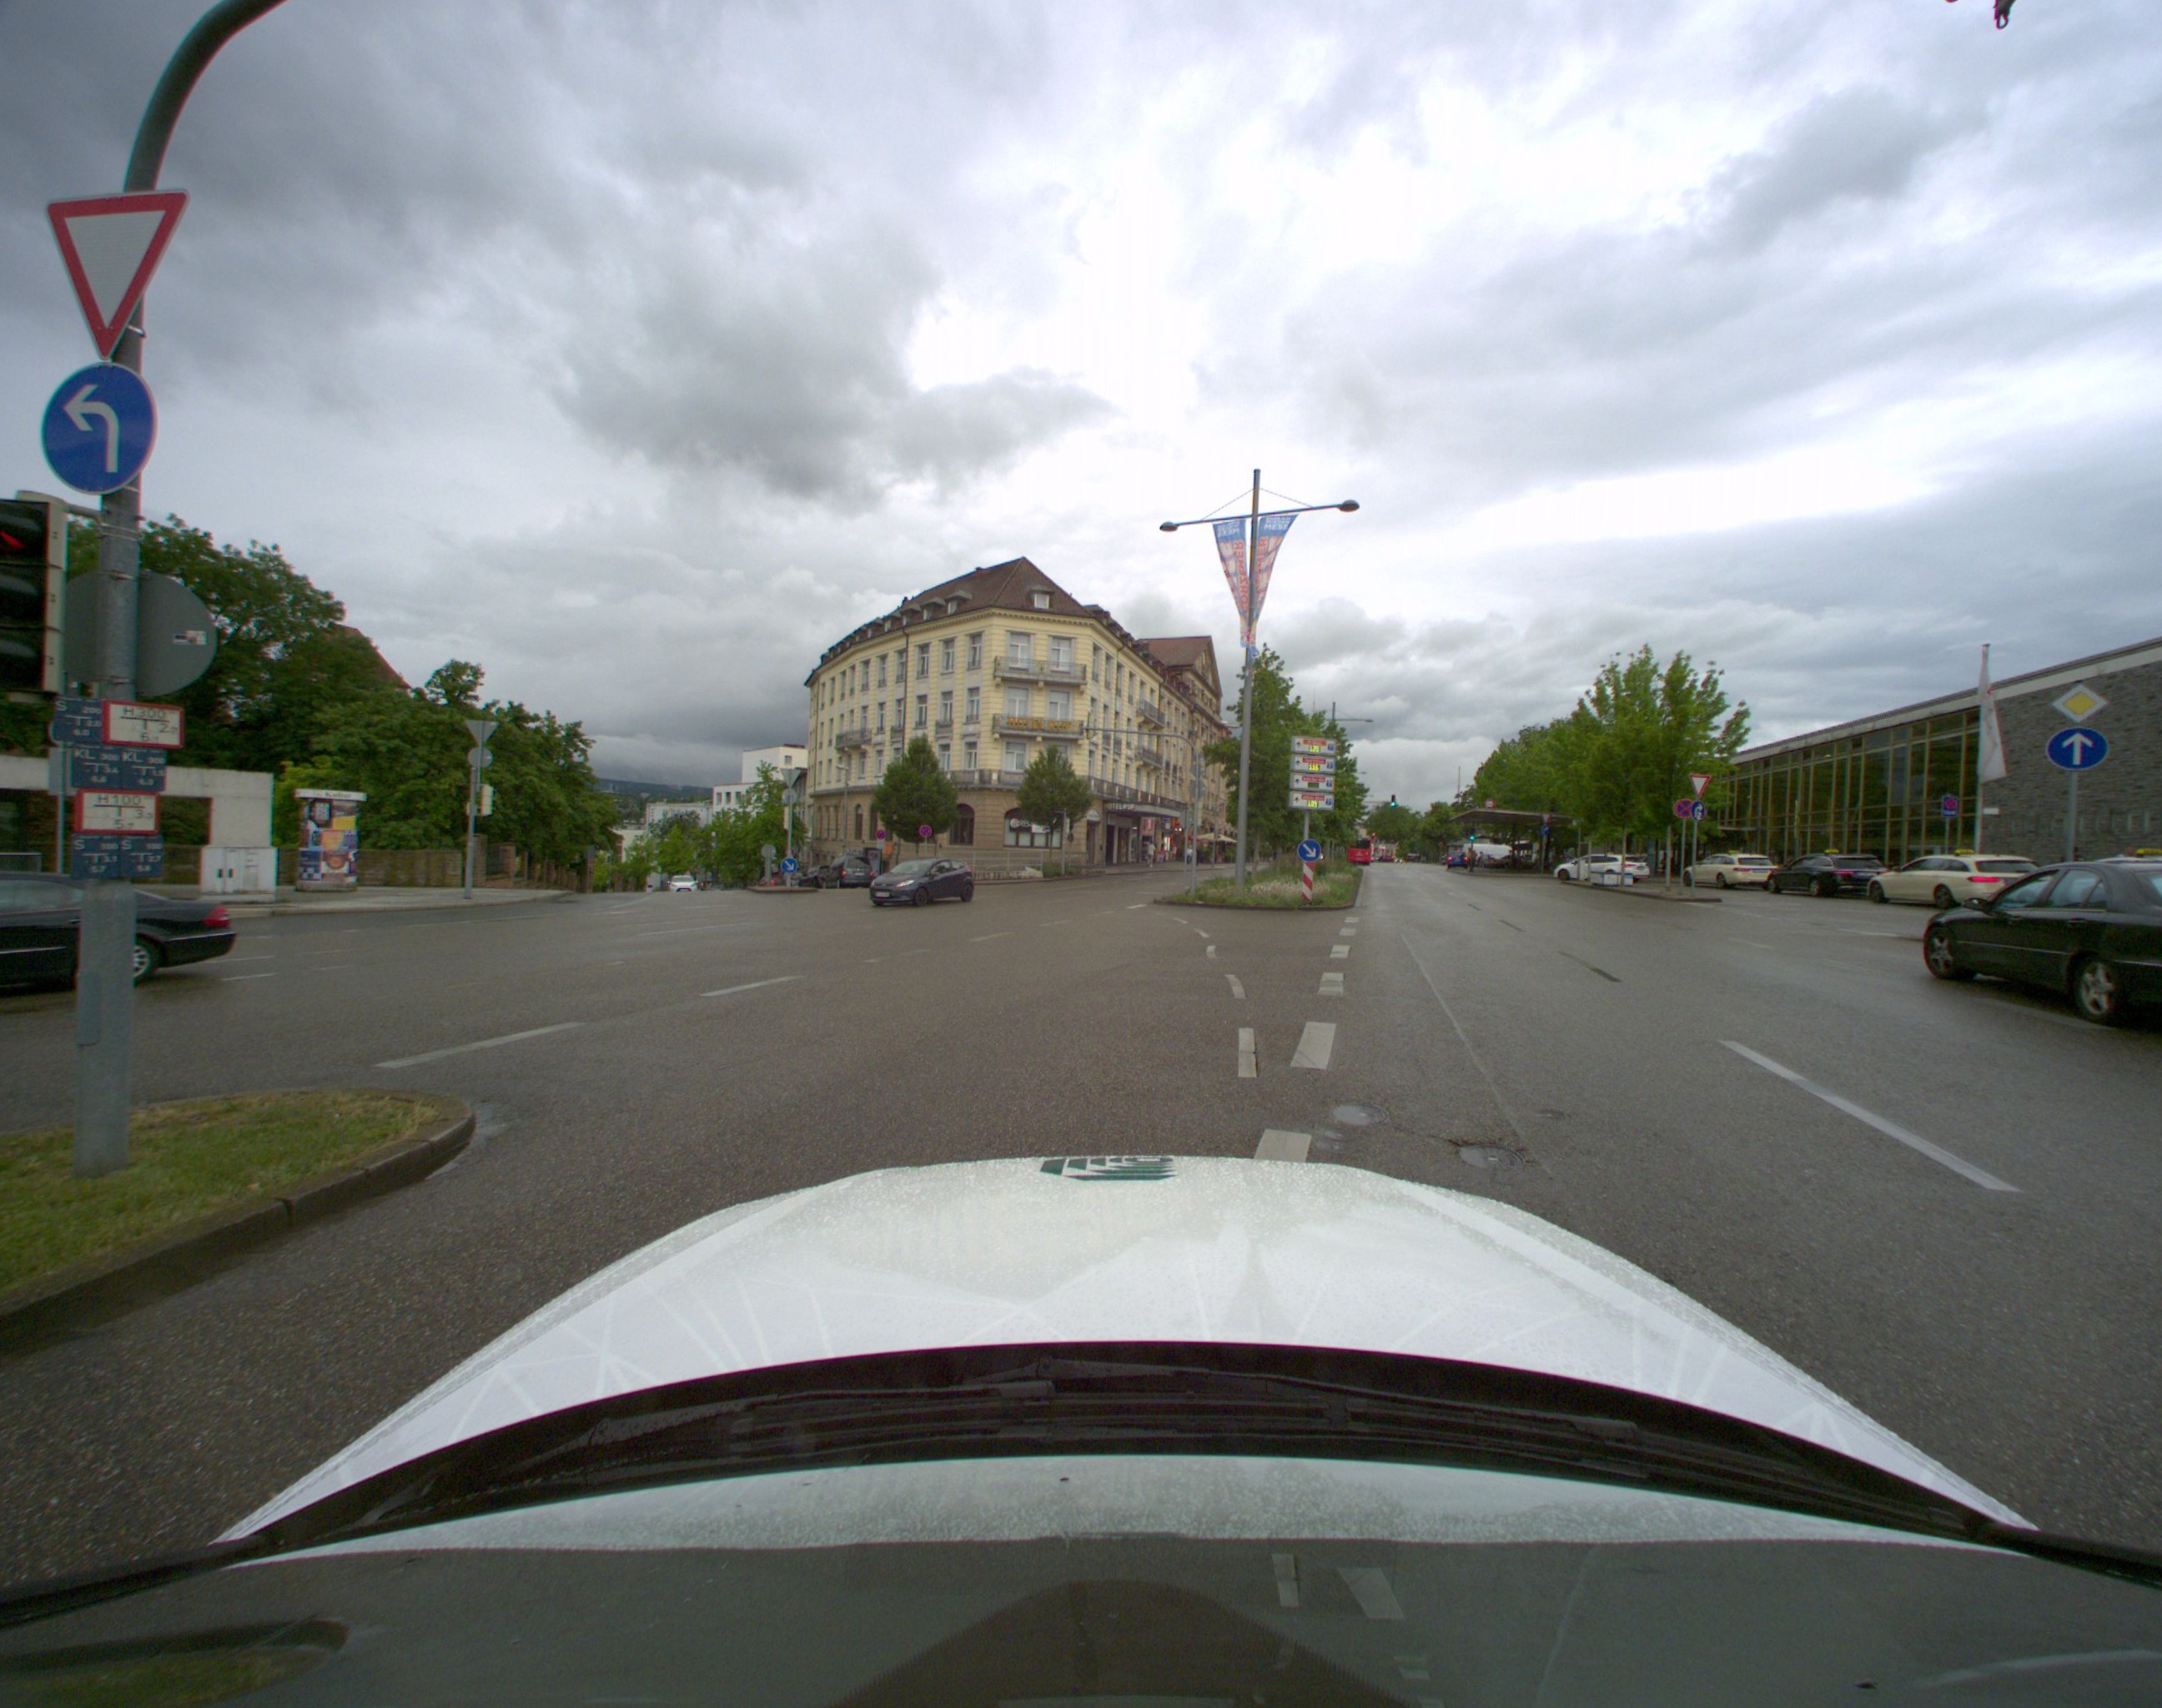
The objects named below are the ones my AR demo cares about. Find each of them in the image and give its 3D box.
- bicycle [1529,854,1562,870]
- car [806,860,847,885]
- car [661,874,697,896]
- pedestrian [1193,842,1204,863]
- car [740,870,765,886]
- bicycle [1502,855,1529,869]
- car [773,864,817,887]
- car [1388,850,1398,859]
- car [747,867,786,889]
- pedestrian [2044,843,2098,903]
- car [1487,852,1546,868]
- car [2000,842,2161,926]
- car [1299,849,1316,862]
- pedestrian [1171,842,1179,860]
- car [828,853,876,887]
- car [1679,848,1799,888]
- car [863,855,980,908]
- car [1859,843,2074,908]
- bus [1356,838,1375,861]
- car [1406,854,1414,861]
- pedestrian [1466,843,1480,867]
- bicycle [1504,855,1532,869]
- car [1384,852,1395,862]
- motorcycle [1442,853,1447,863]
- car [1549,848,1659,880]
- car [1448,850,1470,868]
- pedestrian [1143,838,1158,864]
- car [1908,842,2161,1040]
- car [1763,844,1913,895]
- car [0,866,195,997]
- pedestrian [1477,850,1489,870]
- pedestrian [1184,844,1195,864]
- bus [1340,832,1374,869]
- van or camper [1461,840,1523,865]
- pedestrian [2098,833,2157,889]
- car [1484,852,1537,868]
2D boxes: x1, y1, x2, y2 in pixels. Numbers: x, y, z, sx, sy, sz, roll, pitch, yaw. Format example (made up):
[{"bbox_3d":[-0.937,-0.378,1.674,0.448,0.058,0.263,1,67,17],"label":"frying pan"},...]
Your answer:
[{"bbox_3d":[30.522,0.538,53.505,1.812,1.056,0.422,-1,-1,19],"label":"bicycle"},{"bbox_3d":[-15.690,1.114,50.125,1.640,1.398,3.962,0,1,-30],"label":"car"},{"bbox_3d":[-27.656,2.104,55.979,1.642,1.398,3.957,0,0,-35],"label":"car"},{"bbox_3d":[9.693,-0.133,67.194,0.676,1.664,0.811,-1,-1,20],"label":"pedestrian"},{"bbox_3d":[-31.377,2.251,77.638,1.775,1.478,3.963,0,0,-29],"label":"car"},{"bbox_3d":[33.123,0.576,62.104,1.820,1.056,0.420,0,-1,2],"label":"bicycle"},{"bbox_3d":[-19.060,1.397,54.227,1.777,1.478,3.957,0,0,-34],"label":"car"},{"bbox_3d":[66.779,0.093,174.539,1.977,2.014,4.020,-1,0,20],"label":"car"},{"bbox_3d":[-22.860,1.692,59.047,1.777,1.478,3.967,0,0,-34],"label":"car"},{"bbox_3d":[27.851,0.523,22.911,0.724,1.626,0.791,0,-1,-24],"label":"pedestrian"},{"bbox_3d":[38.138,0.527,71.343,4.171,1.325,1.840,1,0,0],"label":"car"},{"bbox_3d":[22.140,0.564,16.965,1.864,1.599,4.927,-1,0,20],"label":"car"},{"bbox_3d":[35.143,0.235,126.161,1.976,2.014,5.027,-1,0,22],"label":"car"},{"bbox_3d":[8.485,-0.254,73.825,0.662,1.664,0.538,0,-1,11],"label":"pedestrian"},{"bbox_3d":[-12.580,0.825,44.528,1.640,1.759,3.962,0,1,-30],"label":"car"},{"bbox_3d":[27.950,0.547,34.814,1.980,1.599,4.975,-1,0,12],"label":"car"},{"bbox_3d":[-4.863,0.788,25.301,1.662,1.512,3.884,-1,0,23],"label":"car"},{"bbox_3d":[24.200,0.517,22.572,1.977,1.599,4.983,-1,0,20],"label":"car"},{"bbox_3d":[50.012,-0.723,143.464,2.783,3.747,10.493,-2,-1,18],"label":"bus"},{"bbox_3d":[80.380,0.825,198.888,1.581,1.560,3.668,-1,0,20],"label":"car"},{"bbox_3d":[28.253,0.079,58.665,0.741,1.747,0.839,0,-1,12],"label":"pedestrian"},{"bbox_3d":[33.073,0.574,61.644,1.820,1.056,0.420,0,-1,2],"label":"bicycle"},{"bbox_3d":[60.651,0.636,160.380,1.977,2.014,4.020,-1,0,20],"label":"car"},{"bbox_3d":[48.096,0.562,107.655,0.590,1.288,1.965,0,0,26],"label":"motorcycle"},{"bbox_3d":[26.969,0.504,42.221,1.763,1.546,4.746,1,0,-19],"label":"car"},{"bbox_3d":[35.138,0.468,75.755,1.842,1.569,4.022,1,0,24],"label":"car"},{"bbox_3d":[5.049,-0.214,59.000,0.872,1.813,0.754,-1,-1,20],"label":"pedestrian"},{"bbox_3d":[9.770,0.642,7.559,1.678,1.465,4.479,-1,0,28],"label":"car"},{"bbox_3d":[26.254,0.481,28.517,1.977,1.599,4.982,1,1,19],"label":"car"},{"bbox_3d":[-12.988,0.873,8.912,1.938,1.422,4.022,-1,0,24],"label":"car"},{"bbox_3d":[37.019,0.560,74.958,0.849,1.835,1.196,0,-1,20],"label":"pedestrian"},{"bbox_3d":[8.980,0.006,67.506,0.675,1.664,0.811,-1,-1,23],"label":"pedestrian"},{"bbox_3d":[32.068,-0.369,94.821,3.516,3.979,11.223,-1,0,18],"label":"bus"},{"bbox_3d":[45.637,-0.141,90.507,5.941,2.763,2.193,0,-1,-7],"label":"van or camper"},{"bbox_3d":[30.022,0.210,23.373,0.762,1.580,0.714,-1,-1,16],"label":"pedestrian"},{"bbox_3d":[39.421,0.535,74.797,3.988,1.359,1.858,1,0,-11],"label":"car"}]
